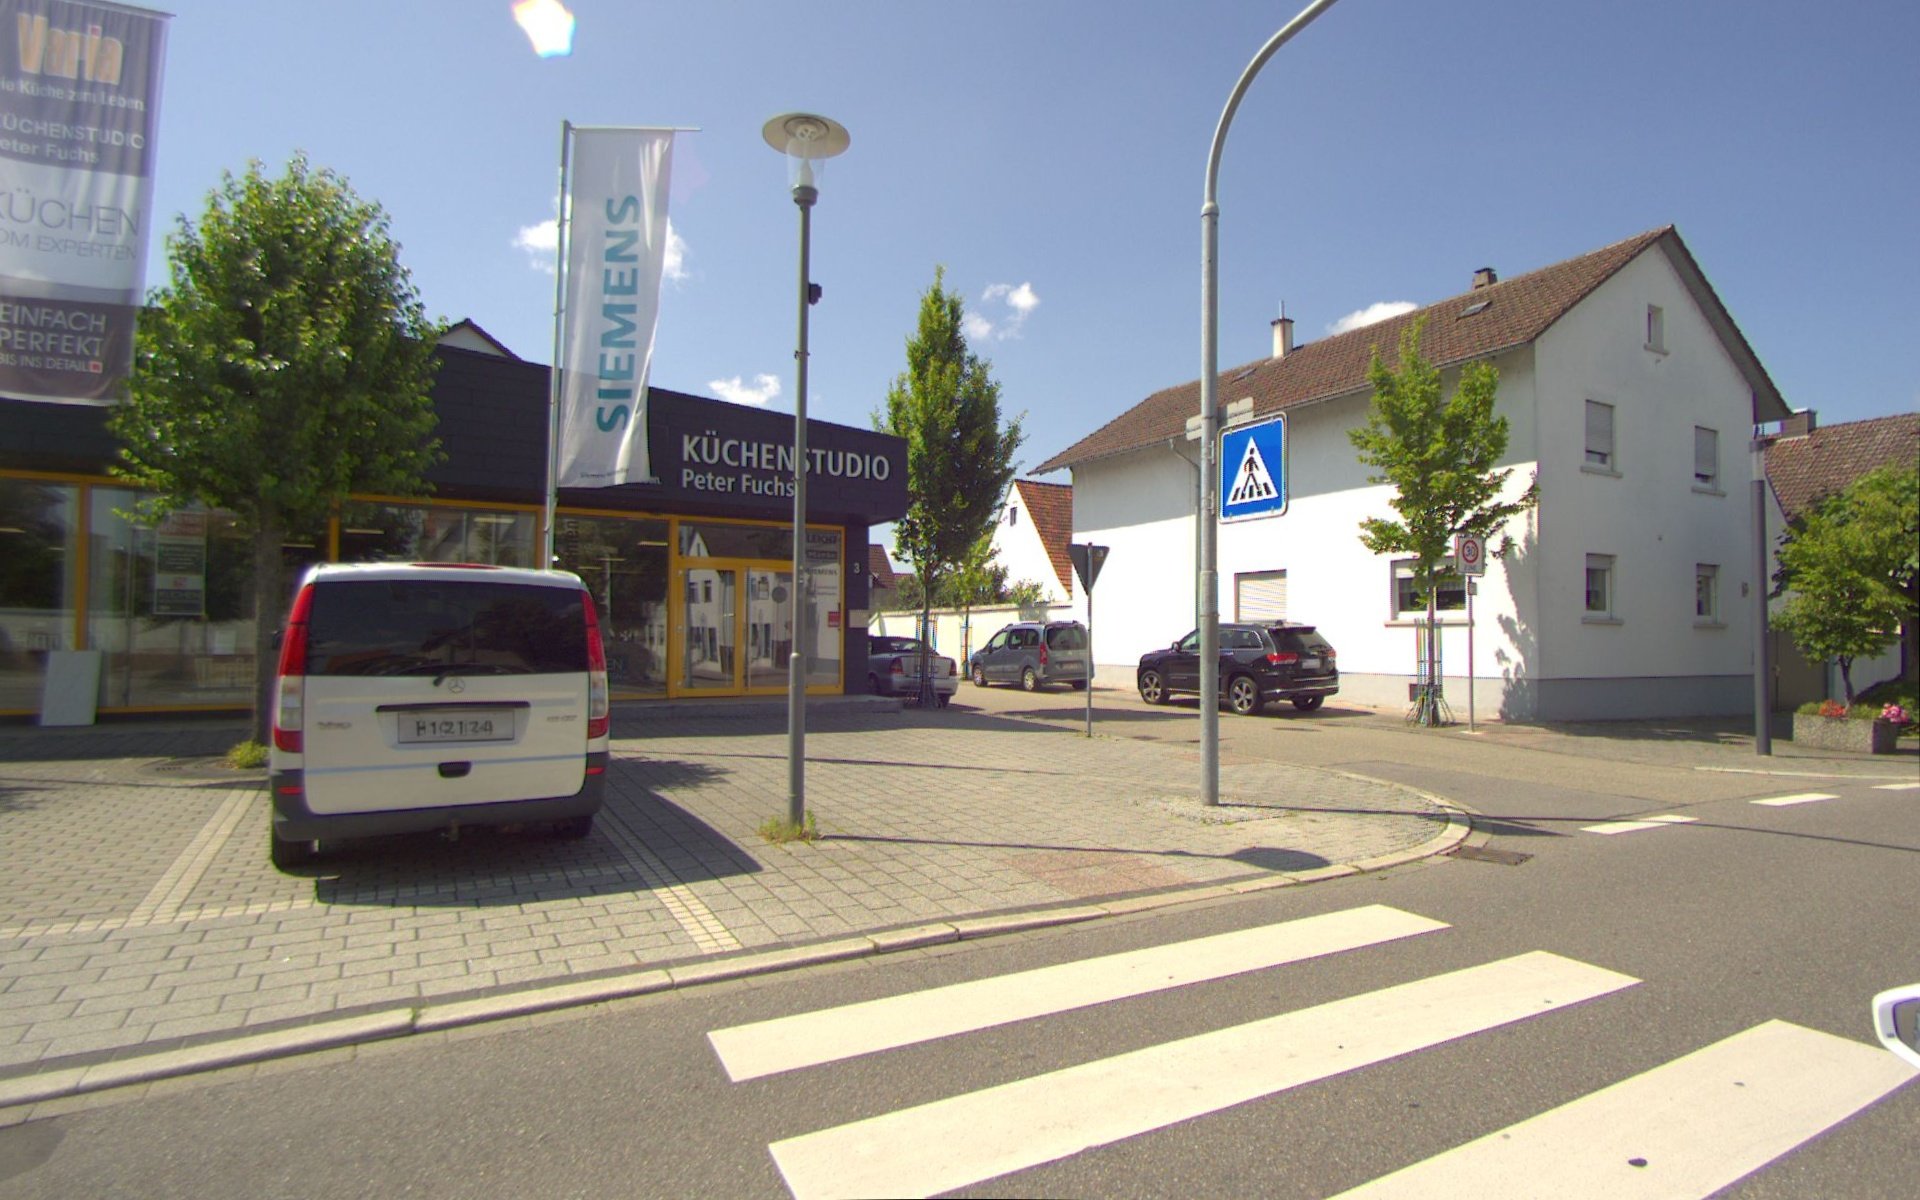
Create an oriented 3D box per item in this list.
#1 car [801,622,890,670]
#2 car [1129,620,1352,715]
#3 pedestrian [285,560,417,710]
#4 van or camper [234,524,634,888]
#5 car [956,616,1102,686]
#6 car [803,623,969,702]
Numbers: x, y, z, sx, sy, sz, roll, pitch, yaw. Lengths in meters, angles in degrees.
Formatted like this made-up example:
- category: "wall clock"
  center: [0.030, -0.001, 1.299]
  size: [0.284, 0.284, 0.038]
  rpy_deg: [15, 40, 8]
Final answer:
- category: "car"
  center: [-4.576, 1.752, 39.527]
  size: [1.976, 1.763, 4.405]
  rpy_deg: [0, -1, -29]
- category: "car"
  center: [5.676, 1.299, 20.909]
  size: [1.976, 1.738, 4.405]
  rpy_deg: [0, -1, -29]
- category: "pedestrian"
  center: [-7.670, 0.435, 12.686]
  size: [1.050, 1.798, 0.934]
  rpy_deg: [0, -2, 23]
- category: "van or camper"
  center: [-4.071, 0.577, 7.769]
  size: [1.977, 1.887, 4.717]
  rpy_deg: [2, -1, -30]
- category: "car"
  center: [1.810, 1.352, 27.812]
  size: [1.976, 1.763, 4.405]
  rpy_deg: [0, -1, -29]
- category: "car"
  center: [-1.710, 1.273, 21.502]
  size: [1.845, 1.482, 4.405]
  rpy_deg: [2, -2, -29]
